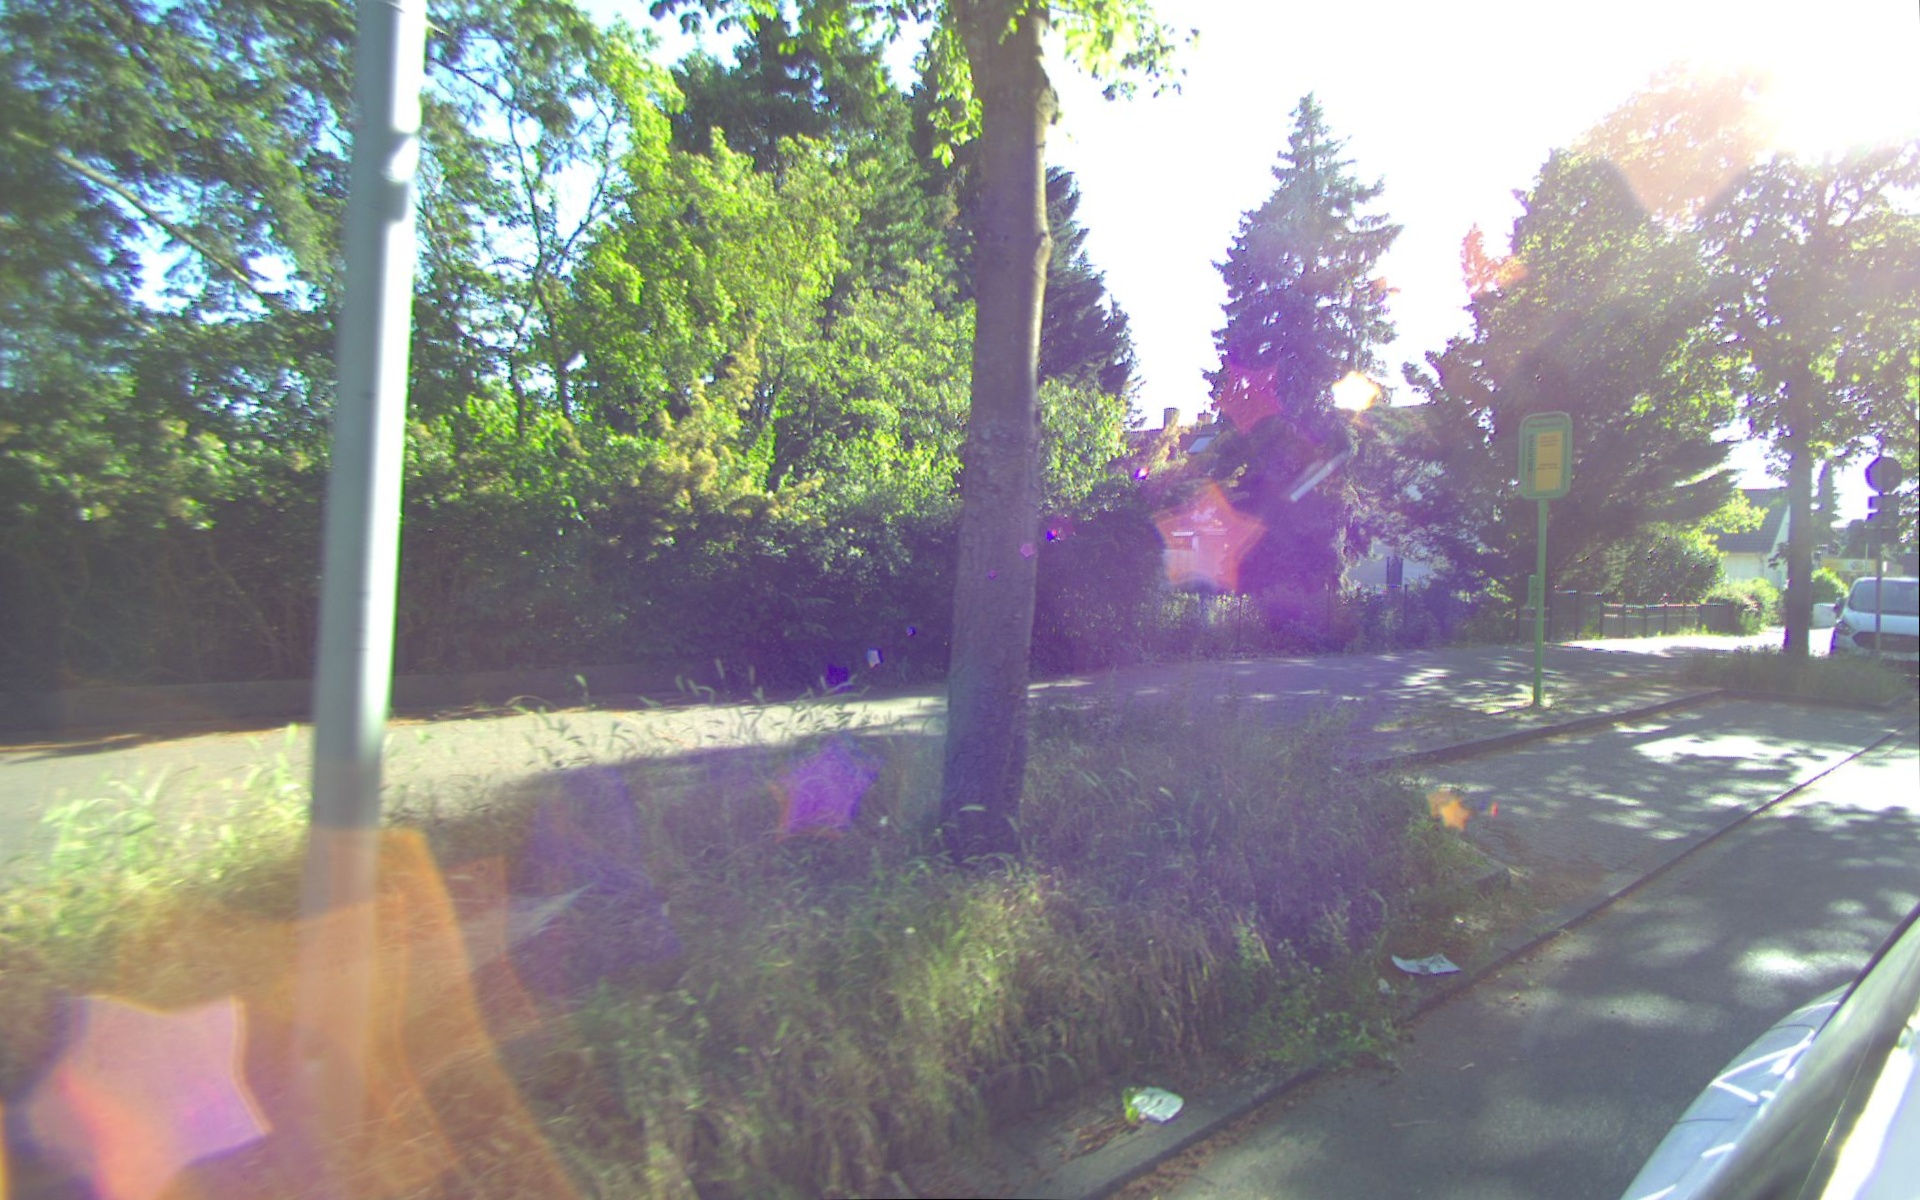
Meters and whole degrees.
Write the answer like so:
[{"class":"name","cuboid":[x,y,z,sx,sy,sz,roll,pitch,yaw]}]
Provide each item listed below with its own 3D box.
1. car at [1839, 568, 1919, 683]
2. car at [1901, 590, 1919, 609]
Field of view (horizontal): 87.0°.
[{"class":"car","cuboid":[18.828,0.420,19.690,5.107,2.039,1.996,-1,0,-42]},{"class":"car","cuboid":[75.002,-0.033,77.891,1.667,1.457,3.615,-1,0,-43]}]
